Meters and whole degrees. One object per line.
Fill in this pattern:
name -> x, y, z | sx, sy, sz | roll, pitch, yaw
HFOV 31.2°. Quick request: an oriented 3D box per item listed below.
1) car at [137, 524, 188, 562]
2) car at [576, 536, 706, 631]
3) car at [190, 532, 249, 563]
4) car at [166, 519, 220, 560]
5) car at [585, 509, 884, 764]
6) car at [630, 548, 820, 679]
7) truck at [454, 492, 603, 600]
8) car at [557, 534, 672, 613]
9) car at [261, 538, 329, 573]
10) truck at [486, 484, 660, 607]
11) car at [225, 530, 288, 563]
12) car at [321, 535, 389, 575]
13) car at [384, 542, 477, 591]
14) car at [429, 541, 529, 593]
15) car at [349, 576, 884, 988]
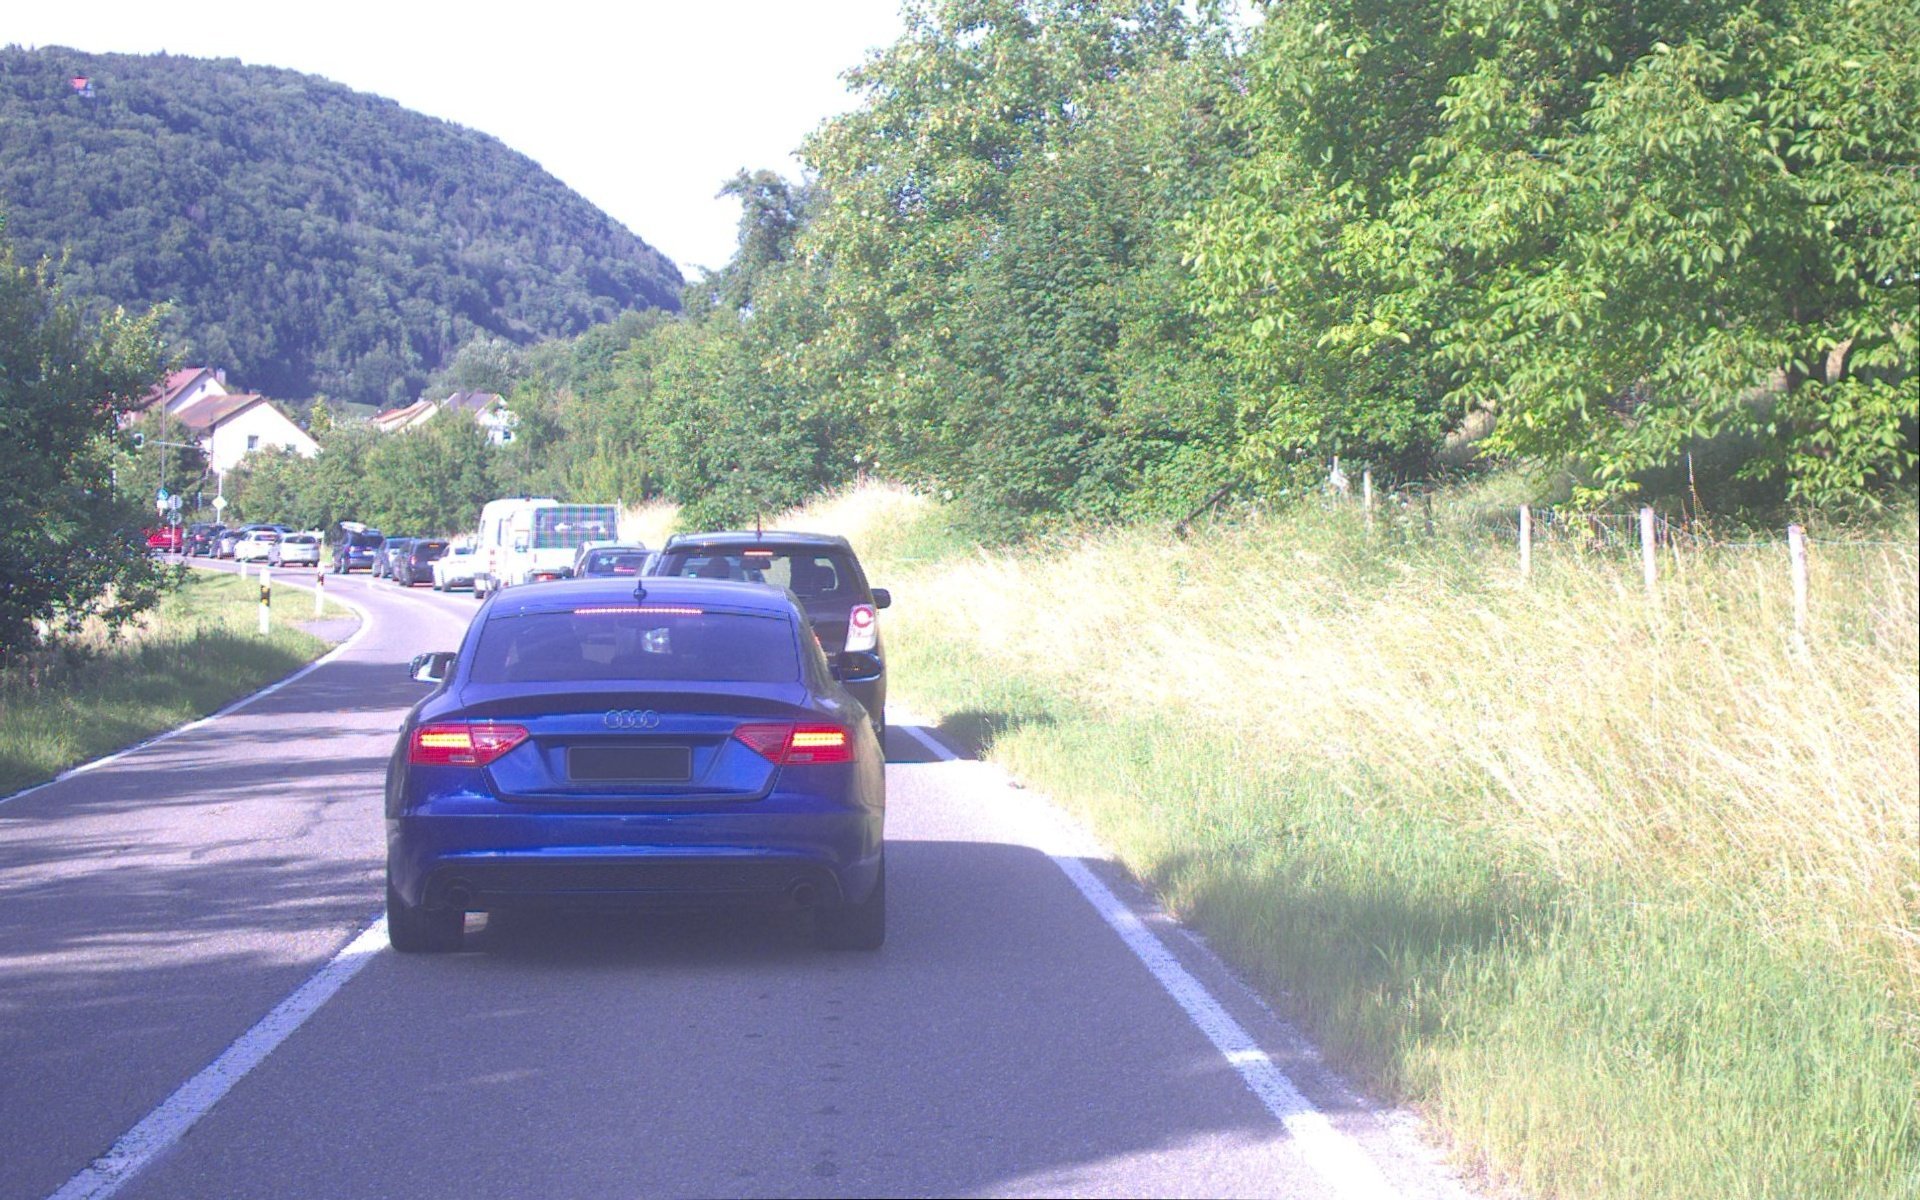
car -> -43.322, -3.091, 186.709 | 1.993, 2.007, 4.001 | 0, 1, -23
car -> -5.232, -0.277, 56.041 | 1.993, 1.477, 4.001 | 1, 1, -7
car -> -36.089, -2.572, 167.460 | 1.993, 1.477, 4.001 | 0, 1, -24
car -> -38.834, -3.038, 173.991 | 1.993, 2.007, 4.001 | 0, 1, -23
car -> -1.588, 0.228, 25.121 | 1.993, 1.696, 4.000 | 1, 0, -2
car -> -2.595, 0.129, 38.752 | 1.993, 1.382, 4.000 | 1, 1, -2
truck -> -11.541, -1.434, 91.128 | 2.863, 2.656, 10.648 | 0, 1, -13
car -> -6.809, -0.525, 67.410 | 1.993, 1.477, 4.001 | 0, 1, -9
car -> -28.767, -1.919, 148.633 | 1.993, 1.477, 4.001 | 0, 1, -24
truck -> -9.123, -1.267, 79.949 | 2.863, 2.656, 10.396 | 0, 1, -13
car -> -32.415, -2.440, 158.326 | 1.993, 1.477, 4.001 | 0, 1, -24
car -> -23.186, -1.729, 131.734 | 1.993, 1.477, 4.001 | 0, 1, -18
car -> -16.747, -1.061, 108.581 | 1.993, 1.477, 4.001 | 0, 1, -22
car -> -14.229, -0.978, 101.568 | 1.993, 1.477, 4.001 | 0, 1, -22
car -> -1.205, 0.602, 13.634 | 1.793, 1.355, 4.000 | 0, 1, -1
